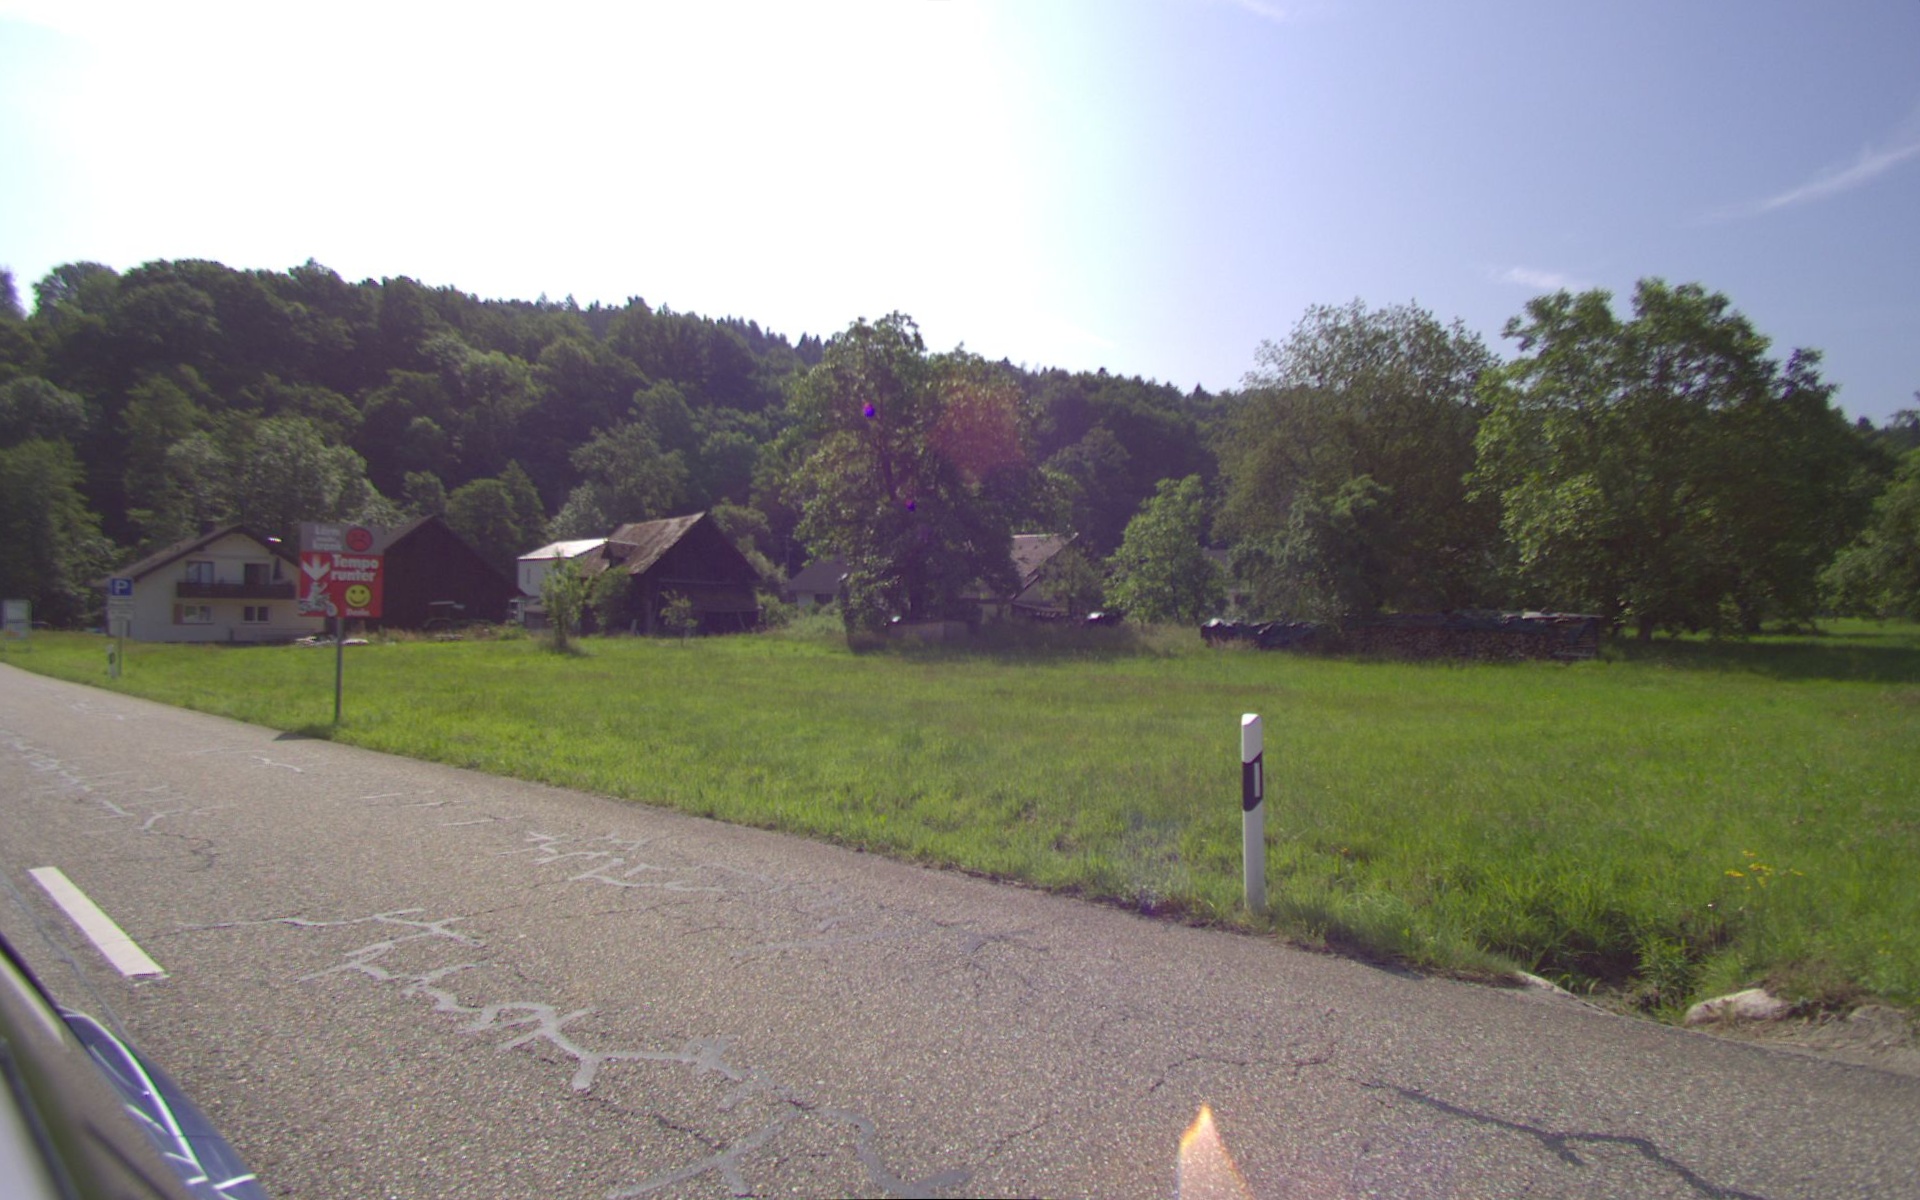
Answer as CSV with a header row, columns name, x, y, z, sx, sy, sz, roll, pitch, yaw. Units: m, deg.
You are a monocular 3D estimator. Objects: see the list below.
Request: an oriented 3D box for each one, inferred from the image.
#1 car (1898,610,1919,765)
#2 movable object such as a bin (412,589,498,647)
name,x,y,z,sx,sy,sz,roll,pitch,yaw
car,11.966,0.874,9.038,1.804,1.661,4.924,0,-2,-22
movable object such as a bin,-28.689,1.009,57.512,4.123,3.161,2.208,0,-1,-35
